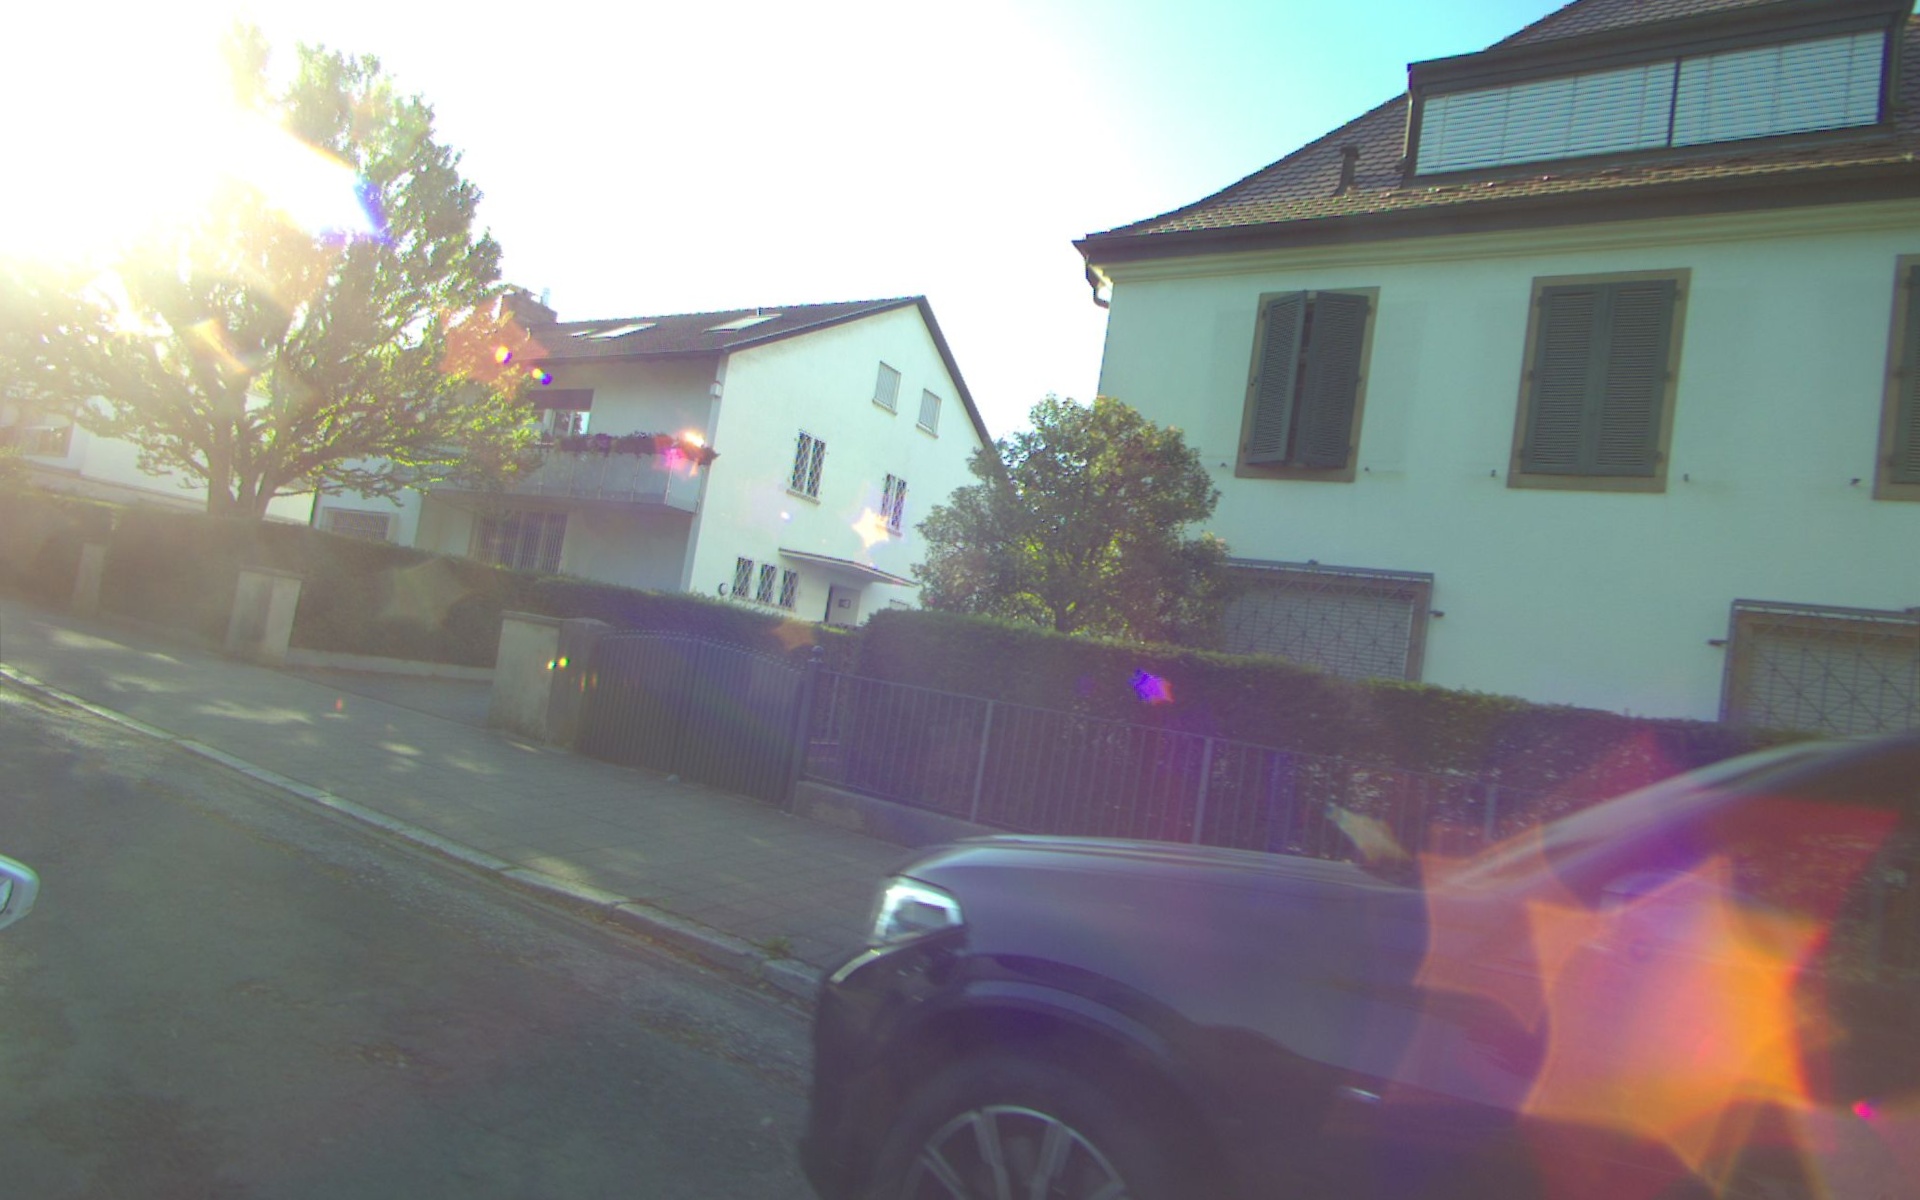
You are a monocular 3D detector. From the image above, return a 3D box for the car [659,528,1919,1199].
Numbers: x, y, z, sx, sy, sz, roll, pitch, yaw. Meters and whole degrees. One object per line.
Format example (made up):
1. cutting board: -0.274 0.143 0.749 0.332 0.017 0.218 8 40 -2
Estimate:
1. car: 1.943 1.093 2.010 4.781 1.755 2.001 7 -5 30
